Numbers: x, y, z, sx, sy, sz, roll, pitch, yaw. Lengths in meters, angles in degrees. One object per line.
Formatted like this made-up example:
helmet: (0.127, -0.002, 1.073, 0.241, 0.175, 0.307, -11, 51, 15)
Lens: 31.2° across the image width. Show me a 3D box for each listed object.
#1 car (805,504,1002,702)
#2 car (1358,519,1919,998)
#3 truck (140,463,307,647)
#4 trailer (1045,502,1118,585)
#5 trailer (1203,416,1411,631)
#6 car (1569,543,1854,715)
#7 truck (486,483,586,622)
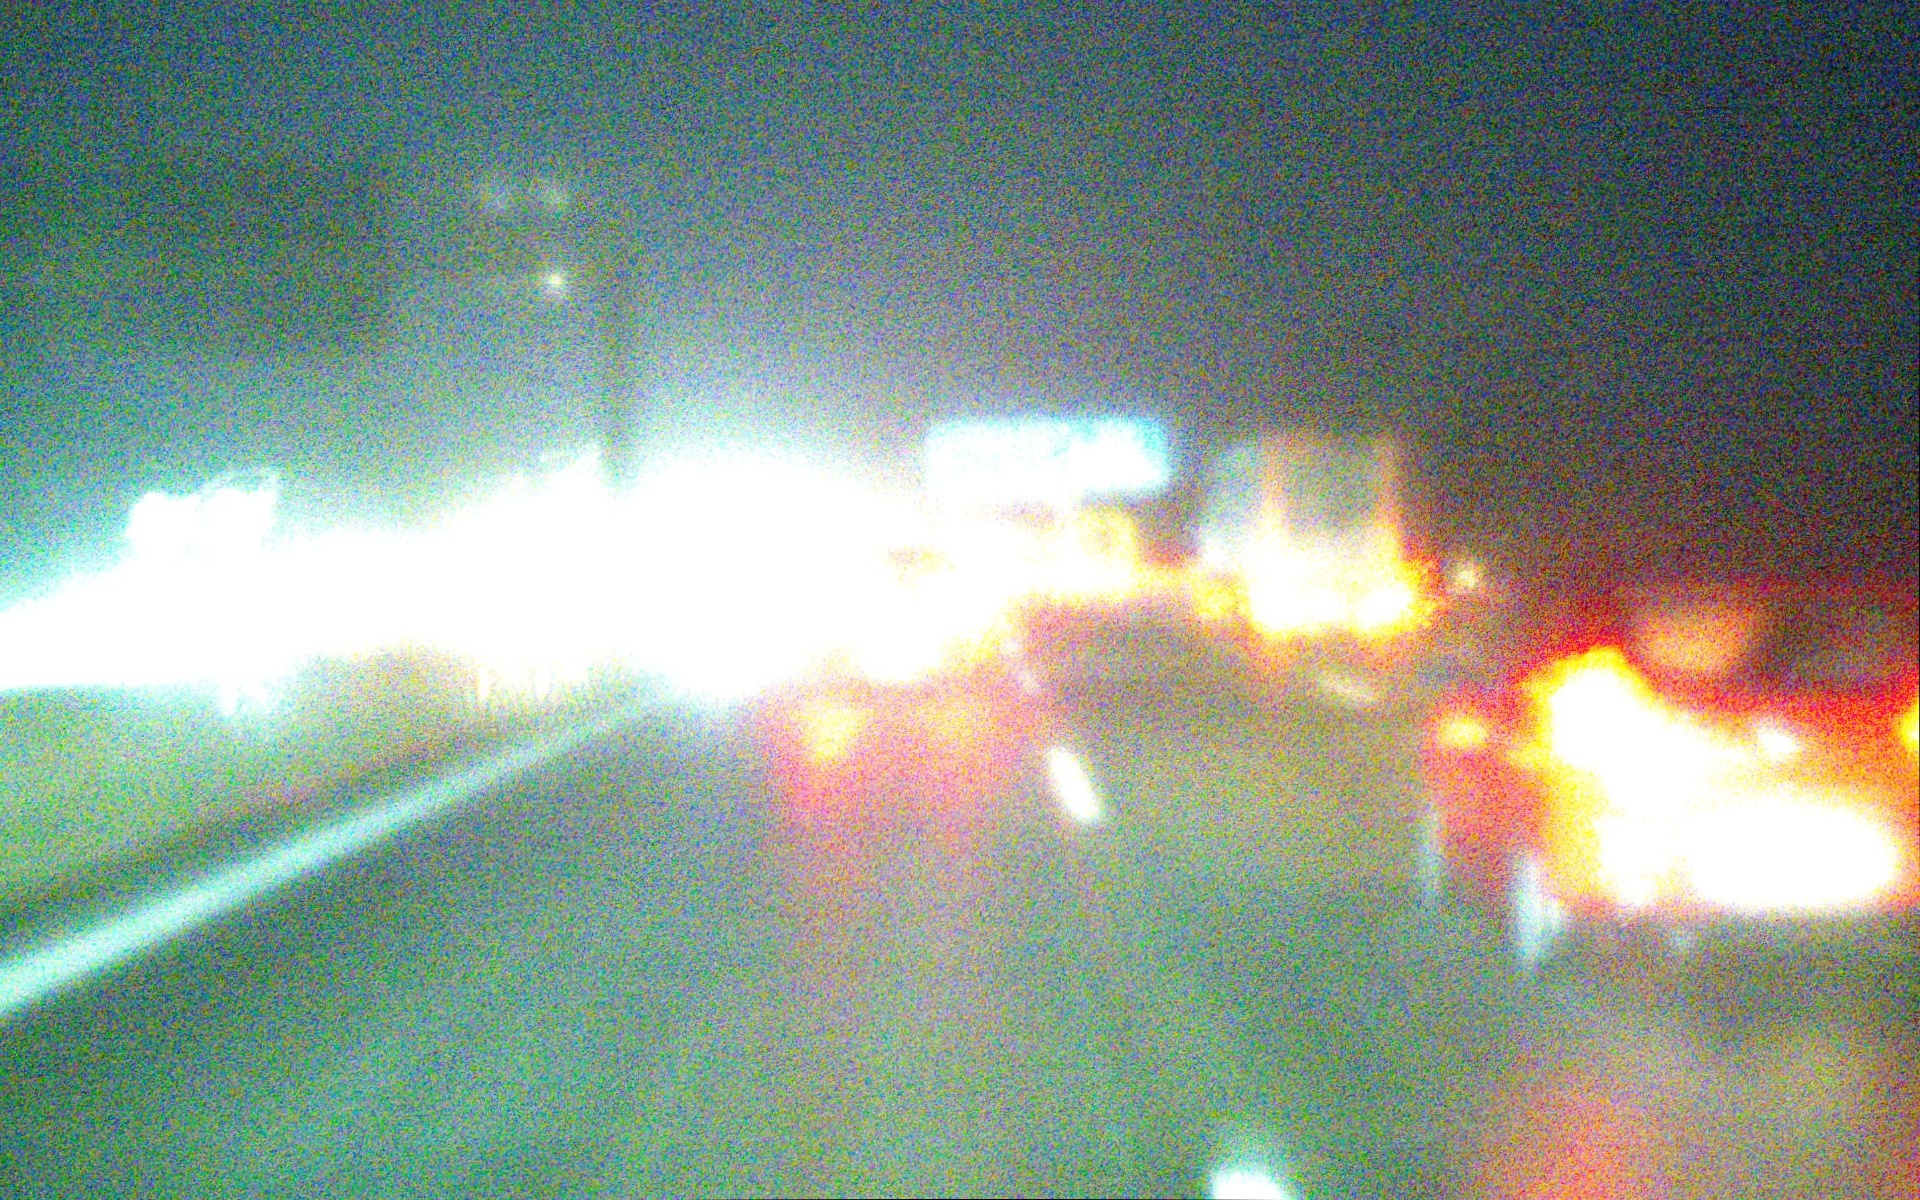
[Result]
car: (-0.637, -0.015, 37.607, 1.993, 2.007, 4.001, -1, 1, -1)
car: (2.716, 0.530, 13.555, 1.740, 1.570, 4.494, 0, 0, 0)
truck: (-17.489, -1.074, 81.912, 2.690, 4.207, 5.735, 1, 1, 0)
trailer: (6.586, -3.033, 188.506, 3.041, 4.095, 13.829, -2, 0, -1)
trailer: (7.269, -1.503, 74.182, 2.903, 4.095, 14.487, -2, 0, 0)
car: (6.978, 0.234, 32.297, 1.639, 1.498, 4.014, -1, 1, -2)
truck: (-13.741, -1.550, 111.708, 2.690, 4.366, 5.735, 1, 1, -2)
